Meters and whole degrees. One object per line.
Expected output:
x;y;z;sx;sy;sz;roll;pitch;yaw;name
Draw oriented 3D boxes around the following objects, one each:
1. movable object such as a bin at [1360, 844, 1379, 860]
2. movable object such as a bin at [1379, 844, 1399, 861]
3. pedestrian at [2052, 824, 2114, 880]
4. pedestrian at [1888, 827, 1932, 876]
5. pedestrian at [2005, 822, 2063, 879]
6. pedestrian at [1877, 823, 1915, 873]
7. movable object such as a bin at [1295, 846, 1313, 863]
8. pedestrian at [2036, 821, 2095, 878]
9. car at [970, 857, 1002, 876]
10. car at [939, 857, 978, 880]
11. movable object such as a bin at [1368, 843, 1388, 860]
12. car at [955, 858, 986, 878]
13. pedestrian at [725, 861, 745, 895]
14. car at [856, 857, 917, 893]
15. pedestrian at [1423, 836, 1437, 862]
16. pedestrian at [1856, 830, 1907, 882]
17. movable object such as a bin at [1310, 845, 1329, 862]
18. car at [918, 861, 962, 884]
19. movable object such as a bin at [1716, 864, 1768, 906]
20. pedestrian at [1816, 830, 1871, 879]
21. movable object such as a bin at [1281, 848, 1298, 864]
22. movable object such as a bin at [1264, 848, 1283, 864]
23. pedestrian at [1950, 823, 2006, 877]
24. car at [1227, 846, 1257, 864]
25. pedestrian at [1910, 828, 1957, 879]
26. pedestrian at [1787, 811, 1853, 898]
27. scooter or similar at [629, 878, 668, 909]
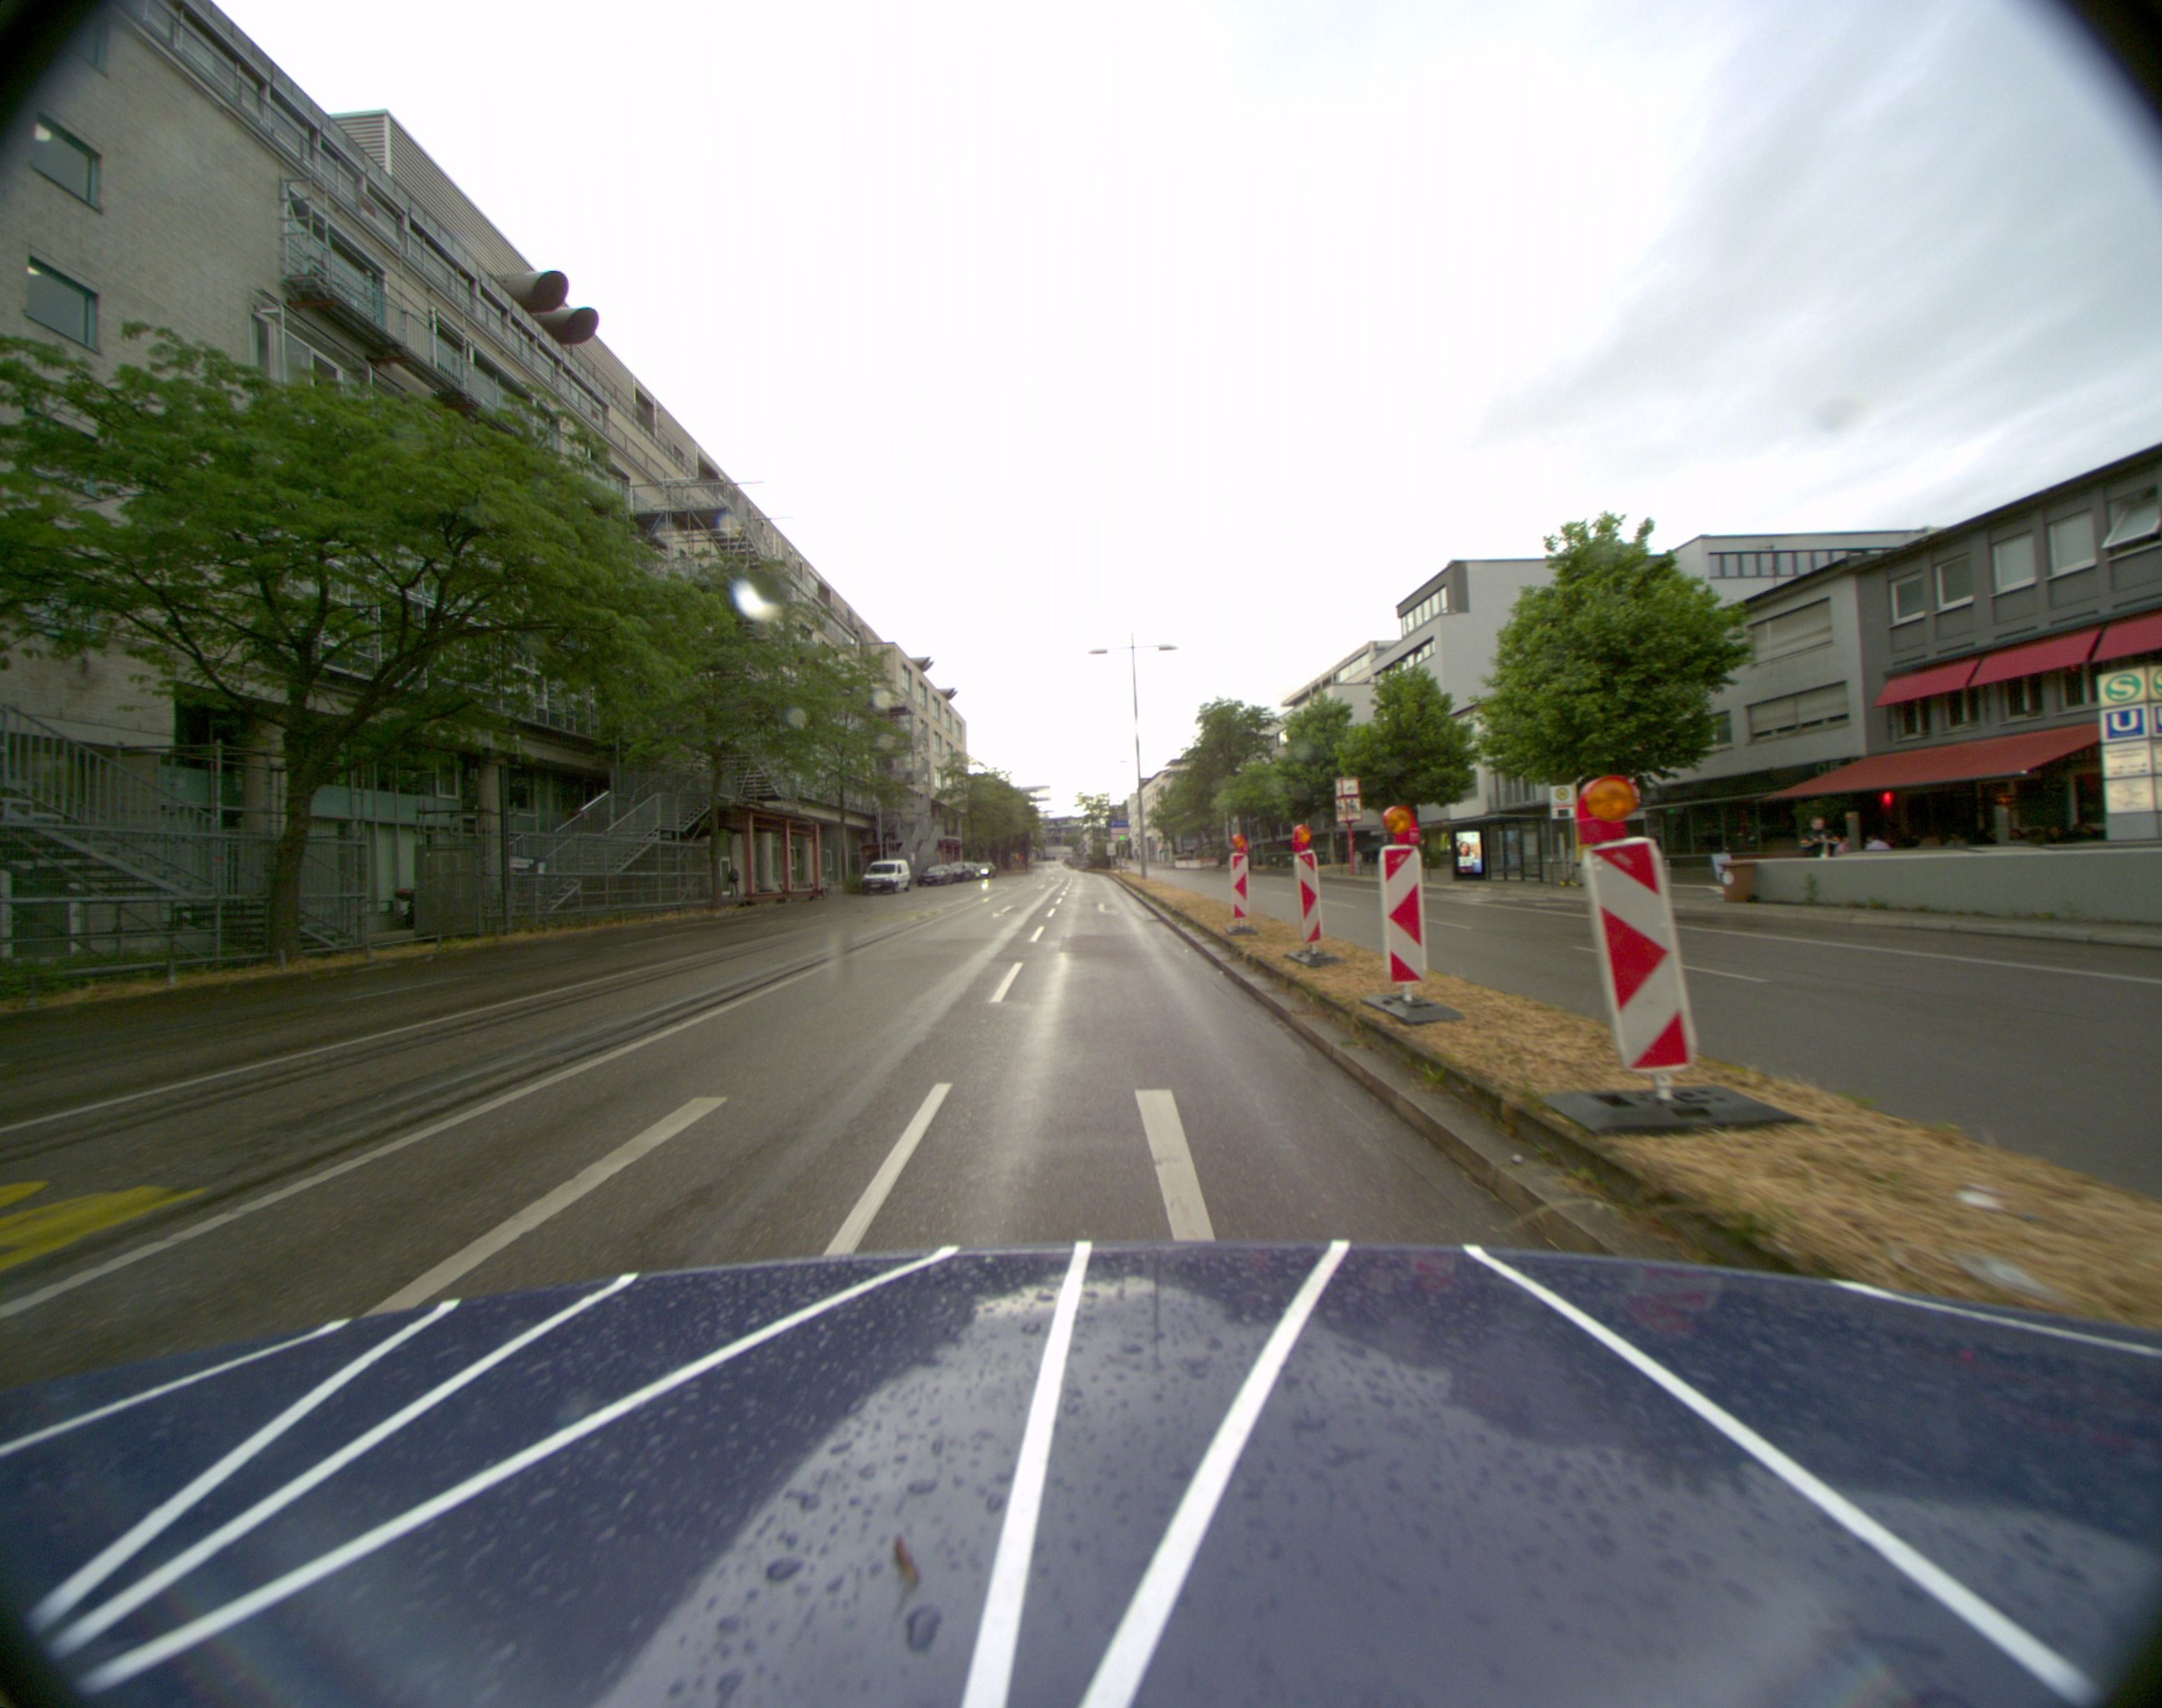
26.679;-0.160;70.276;1.088;1.427;1.281;-2;0;-9;movable object such as a bin
27.271;-0.145;67.358;1.088;1.427;1.281;-2;0;-9;movable object such as a bin
24.911;-0.047;18.897;0.635;1.336;0.691;-2;0;-6;pedestrian
24.900;-0.068;22.823;0.691;1.442;0.547;-2;0;-4;pedestrian
24.766;-0.096;19.758;0.635;1.442;0.691;-2;0;-6;pedestrian
26.178;-0.199;24.408;0.598;1.561;0.604;-2;1;-9;pedestrian
20.339;0.038;69.272;1.281;1.418;1.088;-2;0;1;movable object such as a bin
25.667;-0.121;19.817;0.635;1.442;0.691;-2;0;-6;pedestrian
-8.818;1.134;70.999;1.998;1.591;5.291;-2;0;4;car
-9.565;1.109;59.706;1.998;1.636;4.863;-2;0;3;car
26.866;-0.219;68.738;1.088;1.427;1.281;-2;0;-9;movable object such as a bin
-9.417;1.135;65.080;1.866;1.591;4.593;-2;0;1;car
-18.126;1.253;39.814;0.677;1.732;0.653;-2;1;3;pedestrian
-10.440;1.076;41.168;1.998;1.739;4.527;-2;0;1;car
23.963;-0.334;52.169;0.698;1.753;0.653;-2;1;3;pedestrian
23.175;0.052;22.004;0.691;1.442;0.707;-2;0;-3;pedestrian
21.733;-0.079;69.262;1.281;1.479;1.088;-2;0;1;movable object such as a bin
-9.759;1.250;52.913;1.873;1.429;4.922;-2;0;3;car
14.508;0.666;16.697;0.533;0.892;0.682;0;0;-9;movable object such as a bin
23.102;0.025;23.037;0.691;1.442;0.914;-2;0;-3;pedestrian
18.988;0.162;69.247;1.281;1.418;1.088;-2;0;1;movable object such as a bin
17.547;0.200;69.246;1.362;1.418;1.088;-2;0;1;movable object such as a bin
24.941;-0.103;21.134;0.728;1.442;0.691;-2;0;-6;pedestrian
15.306;0.121;72.496;1.783;1.626;4.024;-2;-1;-2;car
24.870;-0.022;22.181;0.691;1.442;0.583;-2;0;-2;pedestrian
16.512;0.004;16.988;0.691;1.874;0.758;-2;0;-3;pedestrian
-17.177;1.554;30.202;0.633;1.155;1.547;-2;0;1;scooter or similar
